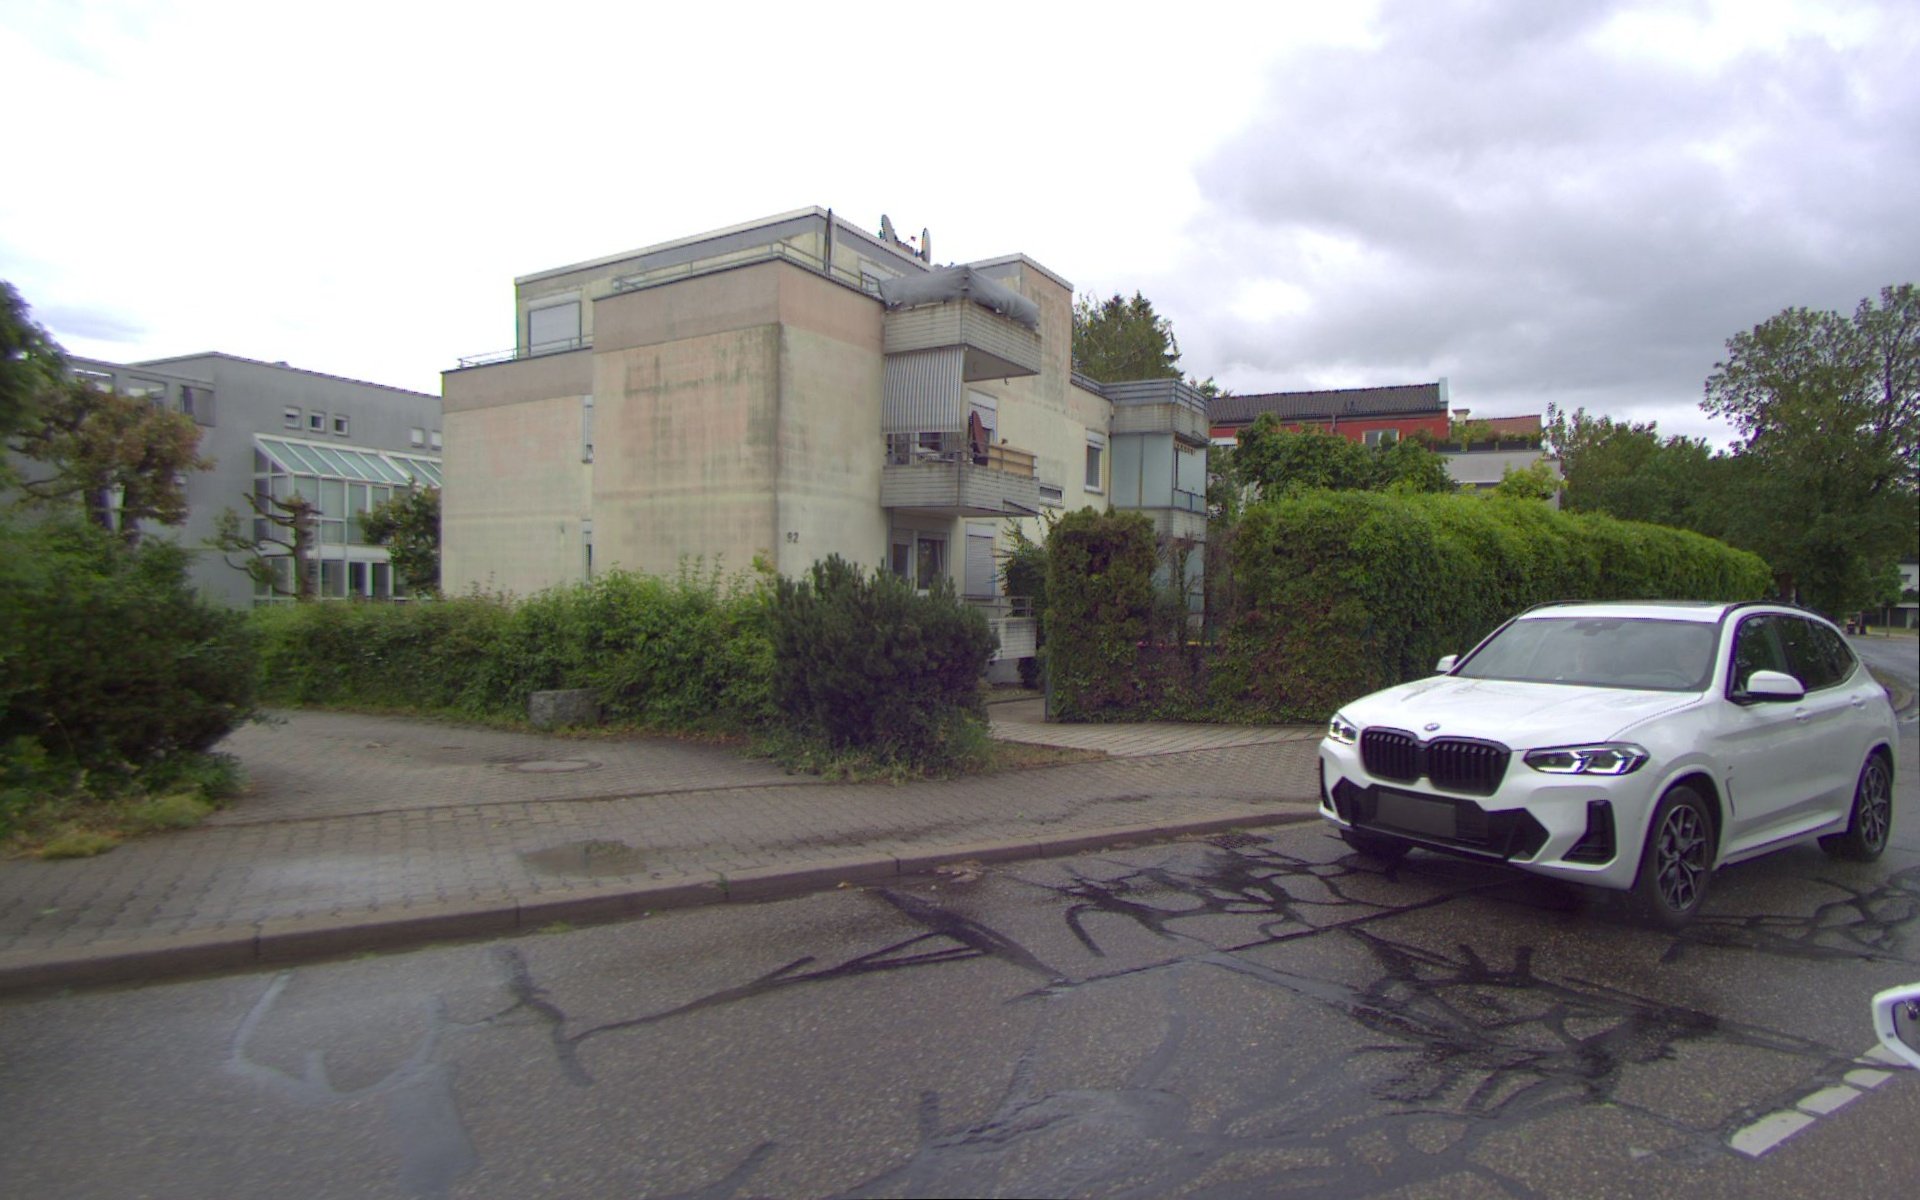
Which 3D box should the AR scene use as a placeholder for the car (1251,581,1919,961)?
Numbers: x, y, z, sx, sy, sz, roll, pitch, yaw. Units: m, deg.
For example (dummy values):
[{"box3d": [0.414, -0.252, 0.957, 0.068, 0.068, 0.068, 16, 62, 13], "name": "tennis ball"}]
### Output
[{"box3d": [4.245, 0.780, 6.467, 4.814, 1.633, 1.879, 1, 1, -34], "name": "car"}]
